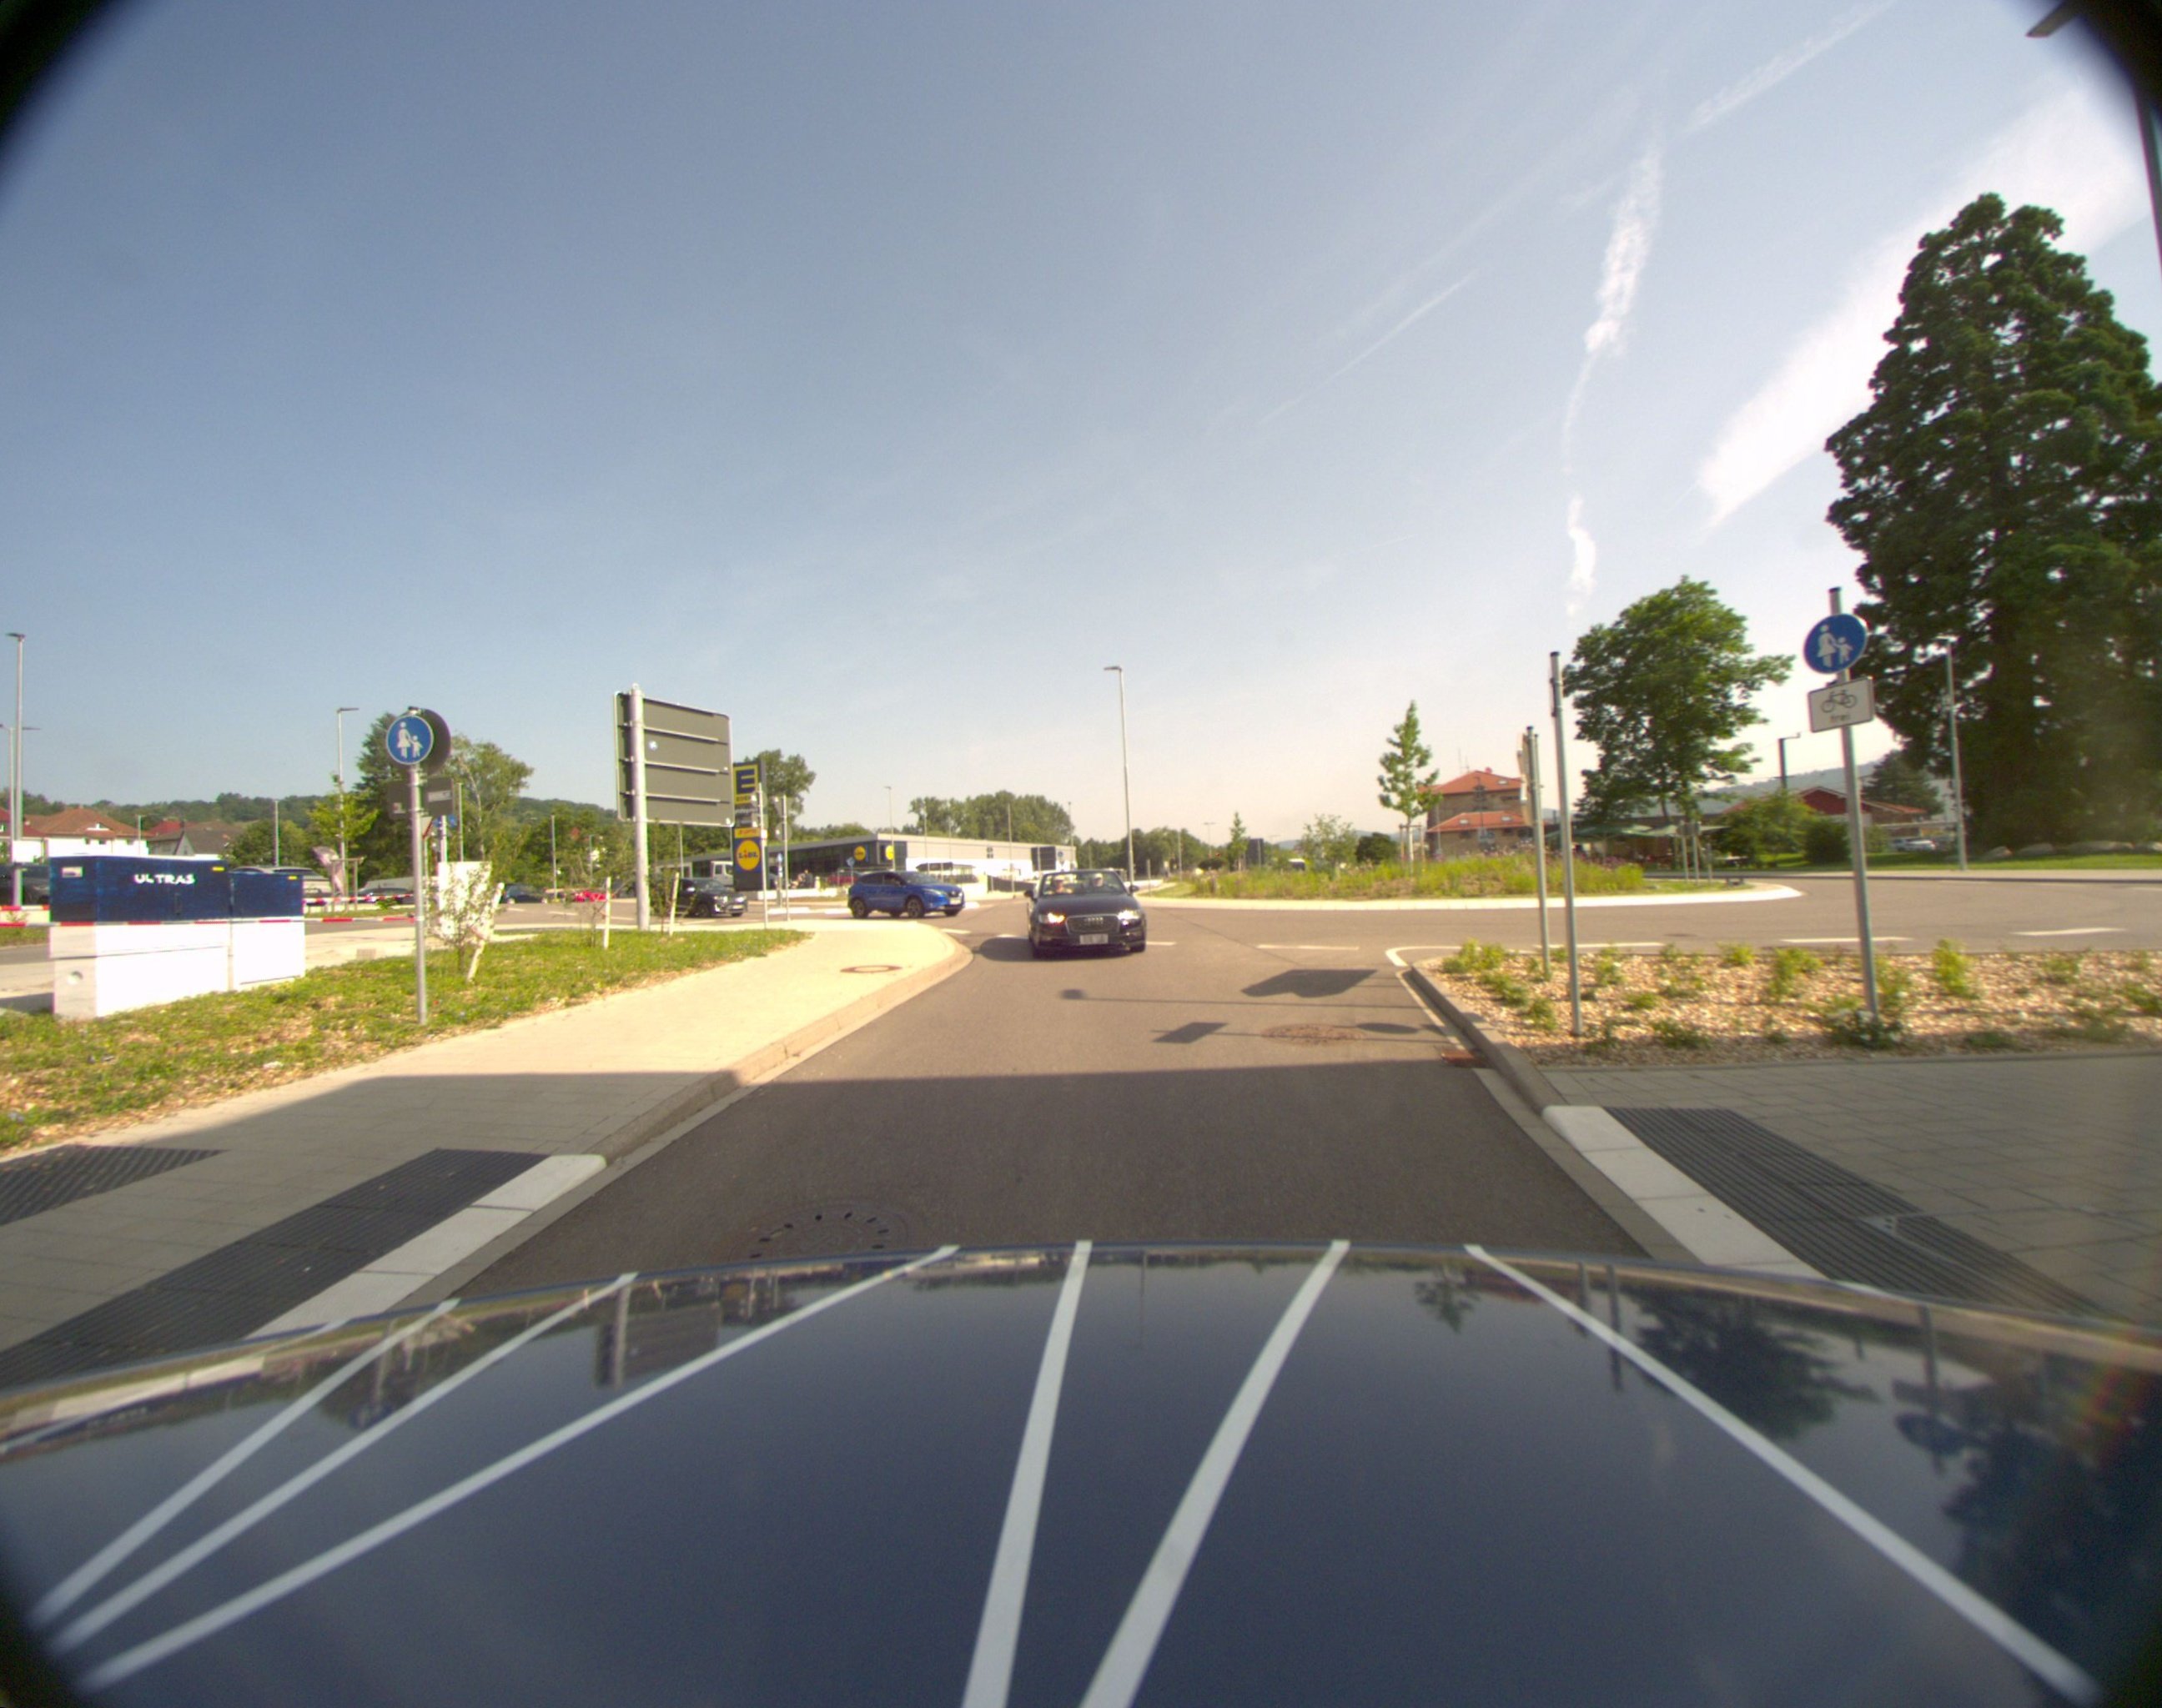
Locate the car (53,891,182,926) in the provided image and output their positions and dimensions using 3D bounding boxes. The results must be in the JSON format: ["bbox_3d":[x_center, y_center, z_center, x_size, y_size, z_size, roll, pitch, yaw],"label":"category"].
[{"bbox_3d":[-45.148,2.522,35.714,1.626,1.342,3.335,-5,-1,6],"label":"car"}]

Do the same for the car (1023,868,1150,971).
[{"bbox_3d":[-0.073,0.989,13.171,1.722,1.314,4.222,-5,0,-5],"label":"car"}]

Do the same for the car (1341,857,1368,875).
[{"bbox_3d":[34.150,1.456,94.667,1.974,1.952,5.167,-7,-3,31],"label":"car"}]

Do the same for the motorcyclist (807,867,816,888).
[{"bbox_3d":[-20.633,1.792,58.126,0.515,1.533,0.581,-4,-2,-23],"label":"motorcyclist"}]

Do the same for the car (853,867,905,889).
[{"bbox_3d":[-17.581,2.102,66.133,3.998,1.564,1.704,-5,-2,-2],"label":"car"}]

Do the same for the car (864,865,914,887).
[{"bbox_3d":[-17.423,2.029,68.979,3.998,1.564,1.704,-5,-2,-2],"label":"car"}]

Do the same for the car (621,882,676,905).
[{"bbox_3d":[-35.658,3.232,62.706,1.663,1.564,3.792,-6,-2,15],"label":"car"}]

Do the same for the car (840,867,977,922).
[{"bbox_3d":[-5.799,1.317,25.448,4.342,1.653,1.890,-2,0,31],"label":"car"}]

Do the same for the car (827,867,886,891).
[{"bbox_3d":[-17.919,1.989,60.808,4.019,1.564,1.780,-5,-2,0],"label":"car"}]

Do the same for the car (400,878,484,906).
[{"bbox_3d":[-39.118,2.292,46.617,1.523,1.436,3.637,-6,-2,16],"label":"car"}]

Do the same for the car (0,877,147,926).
[{"bbox_3d":[-47.704,2.187,35.579,1.998,2.001,4.650,-5,-2,4],"label":"car"}]

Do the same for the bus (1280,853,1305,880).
[{"bbox_3d":[29.188,1.739,105.099,2.584,3.308,10.602,-6,-2,13],"label":"bus"}]

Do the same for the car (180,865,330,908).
[{"bbox_3d":[-32.205,1.297,29.660,4.812,1.545,1.861,-1,-3,14],"label":"car"}]

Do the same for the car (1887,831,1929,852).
[{"bbox_3d":[67.885,-1.044,62.418,1.603,1.485,3.657,-6,-1,37],"label":"car"}]

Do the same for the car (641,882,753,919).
[{"bbox_3d":[-15.602,1.868,30.898,4.220,1.384,1.646,-1,-1,21],"label":"car"}]

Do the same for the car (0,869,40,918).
[{"bbox_3d":[-43.712,1.560,28.793,1.997,1.868,4.584,-4,-2,13],"label":"car"}]

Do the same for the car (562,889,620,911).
[{"bbox_3d":[-41.102,3.814,63.807,1.760,1.564,3.792,-6,-2,15],"label":"car"}]

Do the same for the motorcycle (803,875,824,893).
[{"bbox_3d":[-20.318,2.286,57.646,1.899,1.183,0.592,-7,-3,41],"label":"motorcycle"}]

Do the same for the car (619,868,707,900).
[{"bbox_3d":[-25.449,1.828,46.274,4.851,1.520,1.925,-6,-2,20],"label":"car"}]

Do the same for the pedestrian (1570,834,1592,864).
[{"bbox_3d":[34.829,-0.319,52.969,0.859,2.001,0.709,-5,-2,-11],"label":"pedestrian"}]

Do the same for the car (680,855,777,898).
[{"bbox_3d":[-23.908,1.531,51.524,6.081,2.368,2.064,-6,-2,18],"label":"car"}]

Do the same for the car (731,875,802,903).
[{"bbox_3d":[-22.385,2.478,54.072,4.469,1.592,1.836,-6,-2,18],"label":"car"}]

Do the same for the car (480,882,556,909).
[{"bbox_3d":[-37.943,2.771,51.323,1.760,1.564,3.792,-6,-2,15],"label":"car"}]

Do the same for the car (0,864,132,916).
[{"bbox_3d":[-32.797,1.160,23.874,4.453,1.545,1.861,-1,-3,12],"label":"car"}]
